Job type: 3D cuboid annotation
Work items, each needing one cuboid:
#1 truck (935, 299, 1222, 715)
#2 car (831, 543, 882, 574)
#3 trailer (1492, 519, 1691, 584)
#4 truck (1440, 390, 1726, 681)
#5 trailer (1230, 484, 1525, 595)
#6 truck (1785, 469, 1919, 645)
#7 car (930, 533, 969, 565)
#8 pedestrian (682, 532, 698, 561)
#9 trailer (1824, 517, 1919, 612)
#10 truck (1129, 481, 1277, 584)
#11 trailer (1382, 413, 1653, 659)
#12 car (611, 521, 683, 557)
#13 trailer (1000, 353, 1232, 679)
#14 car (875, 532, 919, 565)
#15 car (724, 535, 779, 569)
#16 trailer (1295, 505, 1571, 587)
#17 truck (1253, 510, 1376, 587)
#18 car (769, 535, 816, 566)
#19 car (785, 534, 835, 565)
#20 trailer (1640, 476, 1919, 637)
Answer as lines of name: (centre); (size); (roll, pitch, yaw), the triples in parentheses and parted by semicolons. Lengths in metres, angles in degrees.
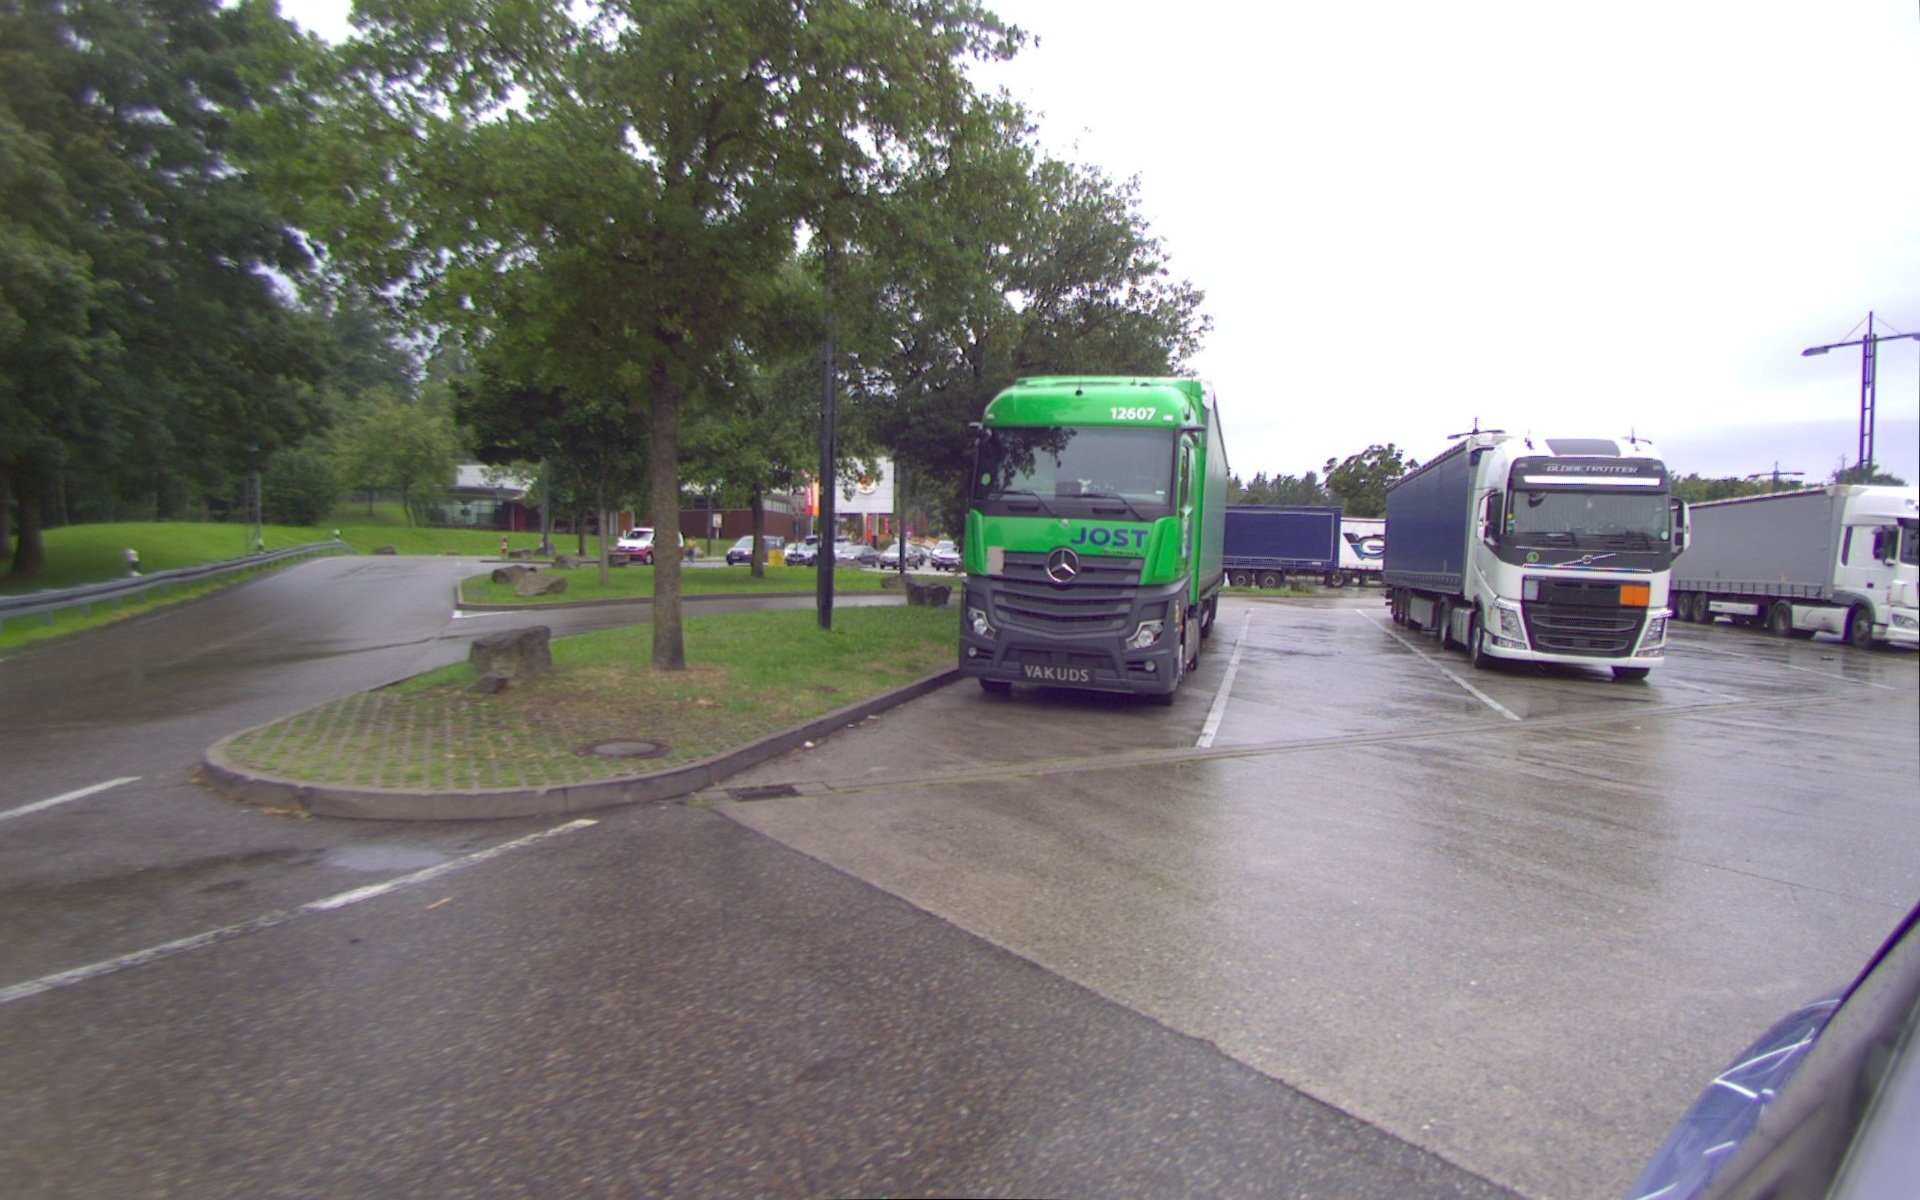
truck: (1.916, -1.124, 13.499); (2.787, 4.199, 5.971); (2, 3, 16)
car: (-6.906, -2.780, 67.895); (1.971, 1.910, 4.378); (3, 2, 15)
trailer: (38.966, -2.919, 62.808); (10.242, 3.803, 2.059); (0, 0, 16)
truck: (10.392, -1.102, 17.582); (2.789, 4.195, 5.276); (2, 3, 17)
trailer: (18.605, -2.831, 46.162); (11.871, 4.528, 3.243); (3, 3, 17)
truck: (23.604, -1.013, 25.089); (2.792, 3.960, 5.385); (3, 3, 16)
car: (-0.650, -3.284, 66.175); (1.757, 1.905, 3.985); (0, 0, 12)
pedestrian: (-15.888, -3.154, 59.455); (0.703, 1.679, 0.794); (1, 3, -29)
trailer: (41.031, -1.380, 40.944); (2.831, 3.966, 16.546); (3, 3, 18)
truck: (11.616, -3.215, 48.353); (6.448, 4.562, 3.243); (3, 3, 17)
trailer: (12.522, -1.467, 24.474); (2.789, 4.221, 13.924); (2, 3, 17)
car: (-17.656, -3.391, 57.273); (1.938, 1.756, 4.526); (0, 0, 12)
trailer: (3.816, -1.461, 20.131); (2.787, 4.199, 13.906); (2, 3, 16)
car: (-4.036, -3.300, 65.580); (1.827, 1.905, 3.985); (0, 0, 12)
car: (-12.592, -2.884, 61.310); (1.790, 1.905, 3.985); (0, 0, 12)
trailer: (26.612, -2.953, 57.935); (13.975, 4.311, 2.653); (0, 0, 18)
truck: (20.837, -2.934, 59.830); (6.693, 4.329, 2.653); (0, 0, 18)
car: (-11.277, -3.294, 68.435); (1.825, 1.905, 3.985); (0, 0, 12)
car: (-9.088, -3.048, 61.600); (1.731, 1.712, 3.985); (0, 0, 12)
trailer: (25.609, -1.395, 31.828); (2.806, 3.966, 13.887); (3, 3, 17)
